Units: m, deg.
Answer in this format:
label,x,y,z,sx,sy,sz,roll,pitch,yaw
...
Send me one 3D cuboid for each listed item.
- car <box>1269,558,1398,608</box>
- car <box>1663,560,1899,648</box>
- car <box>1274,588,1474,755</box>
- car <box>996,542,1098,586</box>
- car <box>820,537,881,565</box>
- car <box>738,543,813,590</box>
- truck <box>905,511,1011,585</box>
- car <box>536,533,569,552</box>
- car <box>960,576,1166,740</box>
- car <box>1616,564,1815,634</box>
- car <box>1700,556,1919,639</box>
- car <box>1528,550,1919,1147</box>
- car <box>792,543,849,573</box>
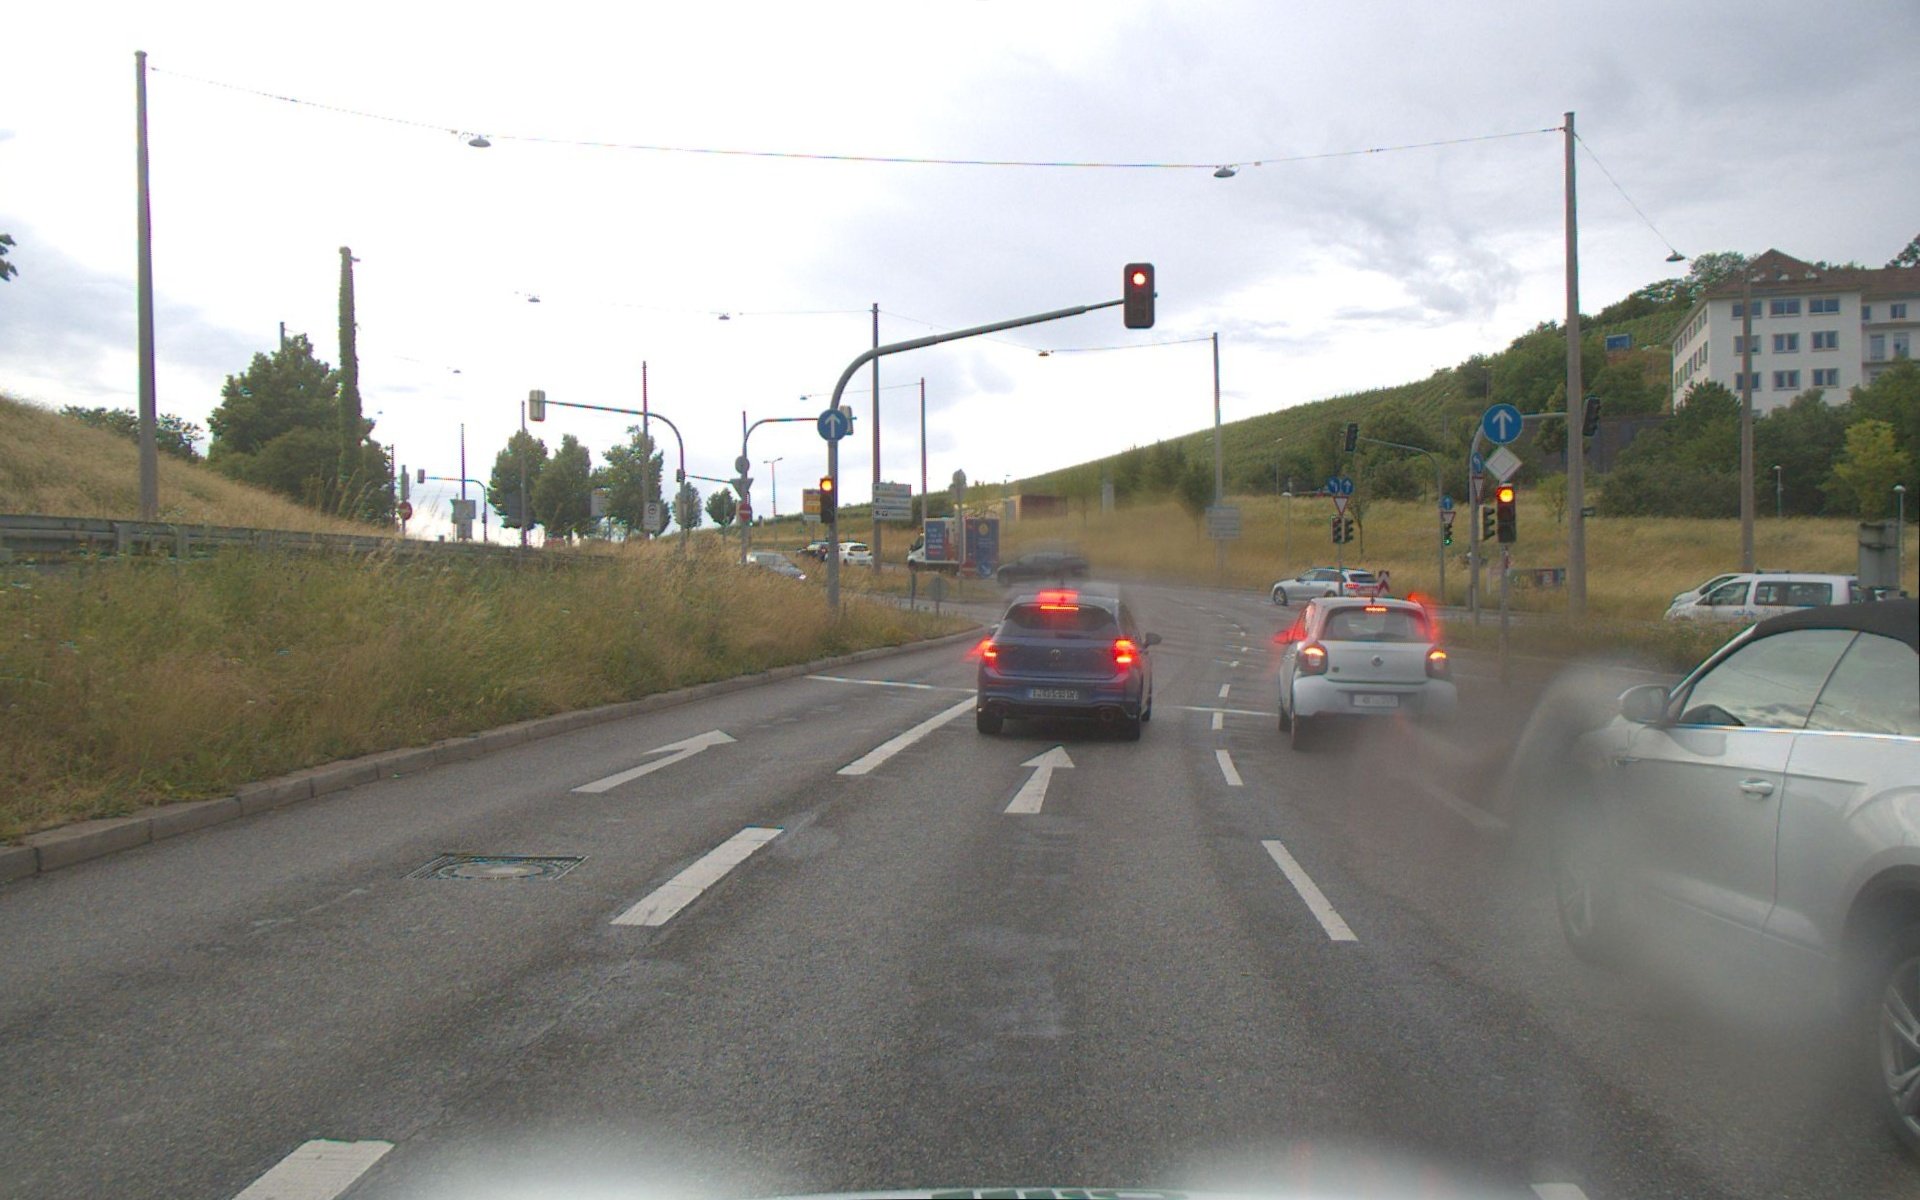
label,x,y,z,sx,sy,sz,roll,pitch,yaw
car,13.552,-0.651,60.229,1.974,1.633,4.514,0,3,-32
car,18.903,0.029,38.273,1.977,1.741,4.508,-3,4,-35
car,4.335,0.677,17.806,1.737,1.545,3.728,2,0,9
car,3.785,-1.600,72.687,1.982,1.741,4.497,-3,4,-40
car,-6.420,-2.886,96.667,1.970,1.526,4.525,-2,4,-27
car,-7.092,-1.305,63.172,1.832,1.599,3.857,4,1,-21
truck,-0.173,-2.709,84.445,2.817,3.587,6.178,-2,4,-28
car,-39.892,-5.591,161.886,1.973,1.741,4.517,-2,2,-30
car,1.266,0.593,18.543,1.885,1.627,4.065,0,-1,10
car,21.236,-0.072,46.688,1.973,1.722,4.846,0,3,-30
car,20.596,-0.120,39.948,1.977,1.741,4.609,-3,4,-35
car,3.600,0.692,5.606,1.955,1.606,4.126,2,0,1
car,-8.944,-2.720,105.780,1.973,1.741,4.518,-2,4,-30
